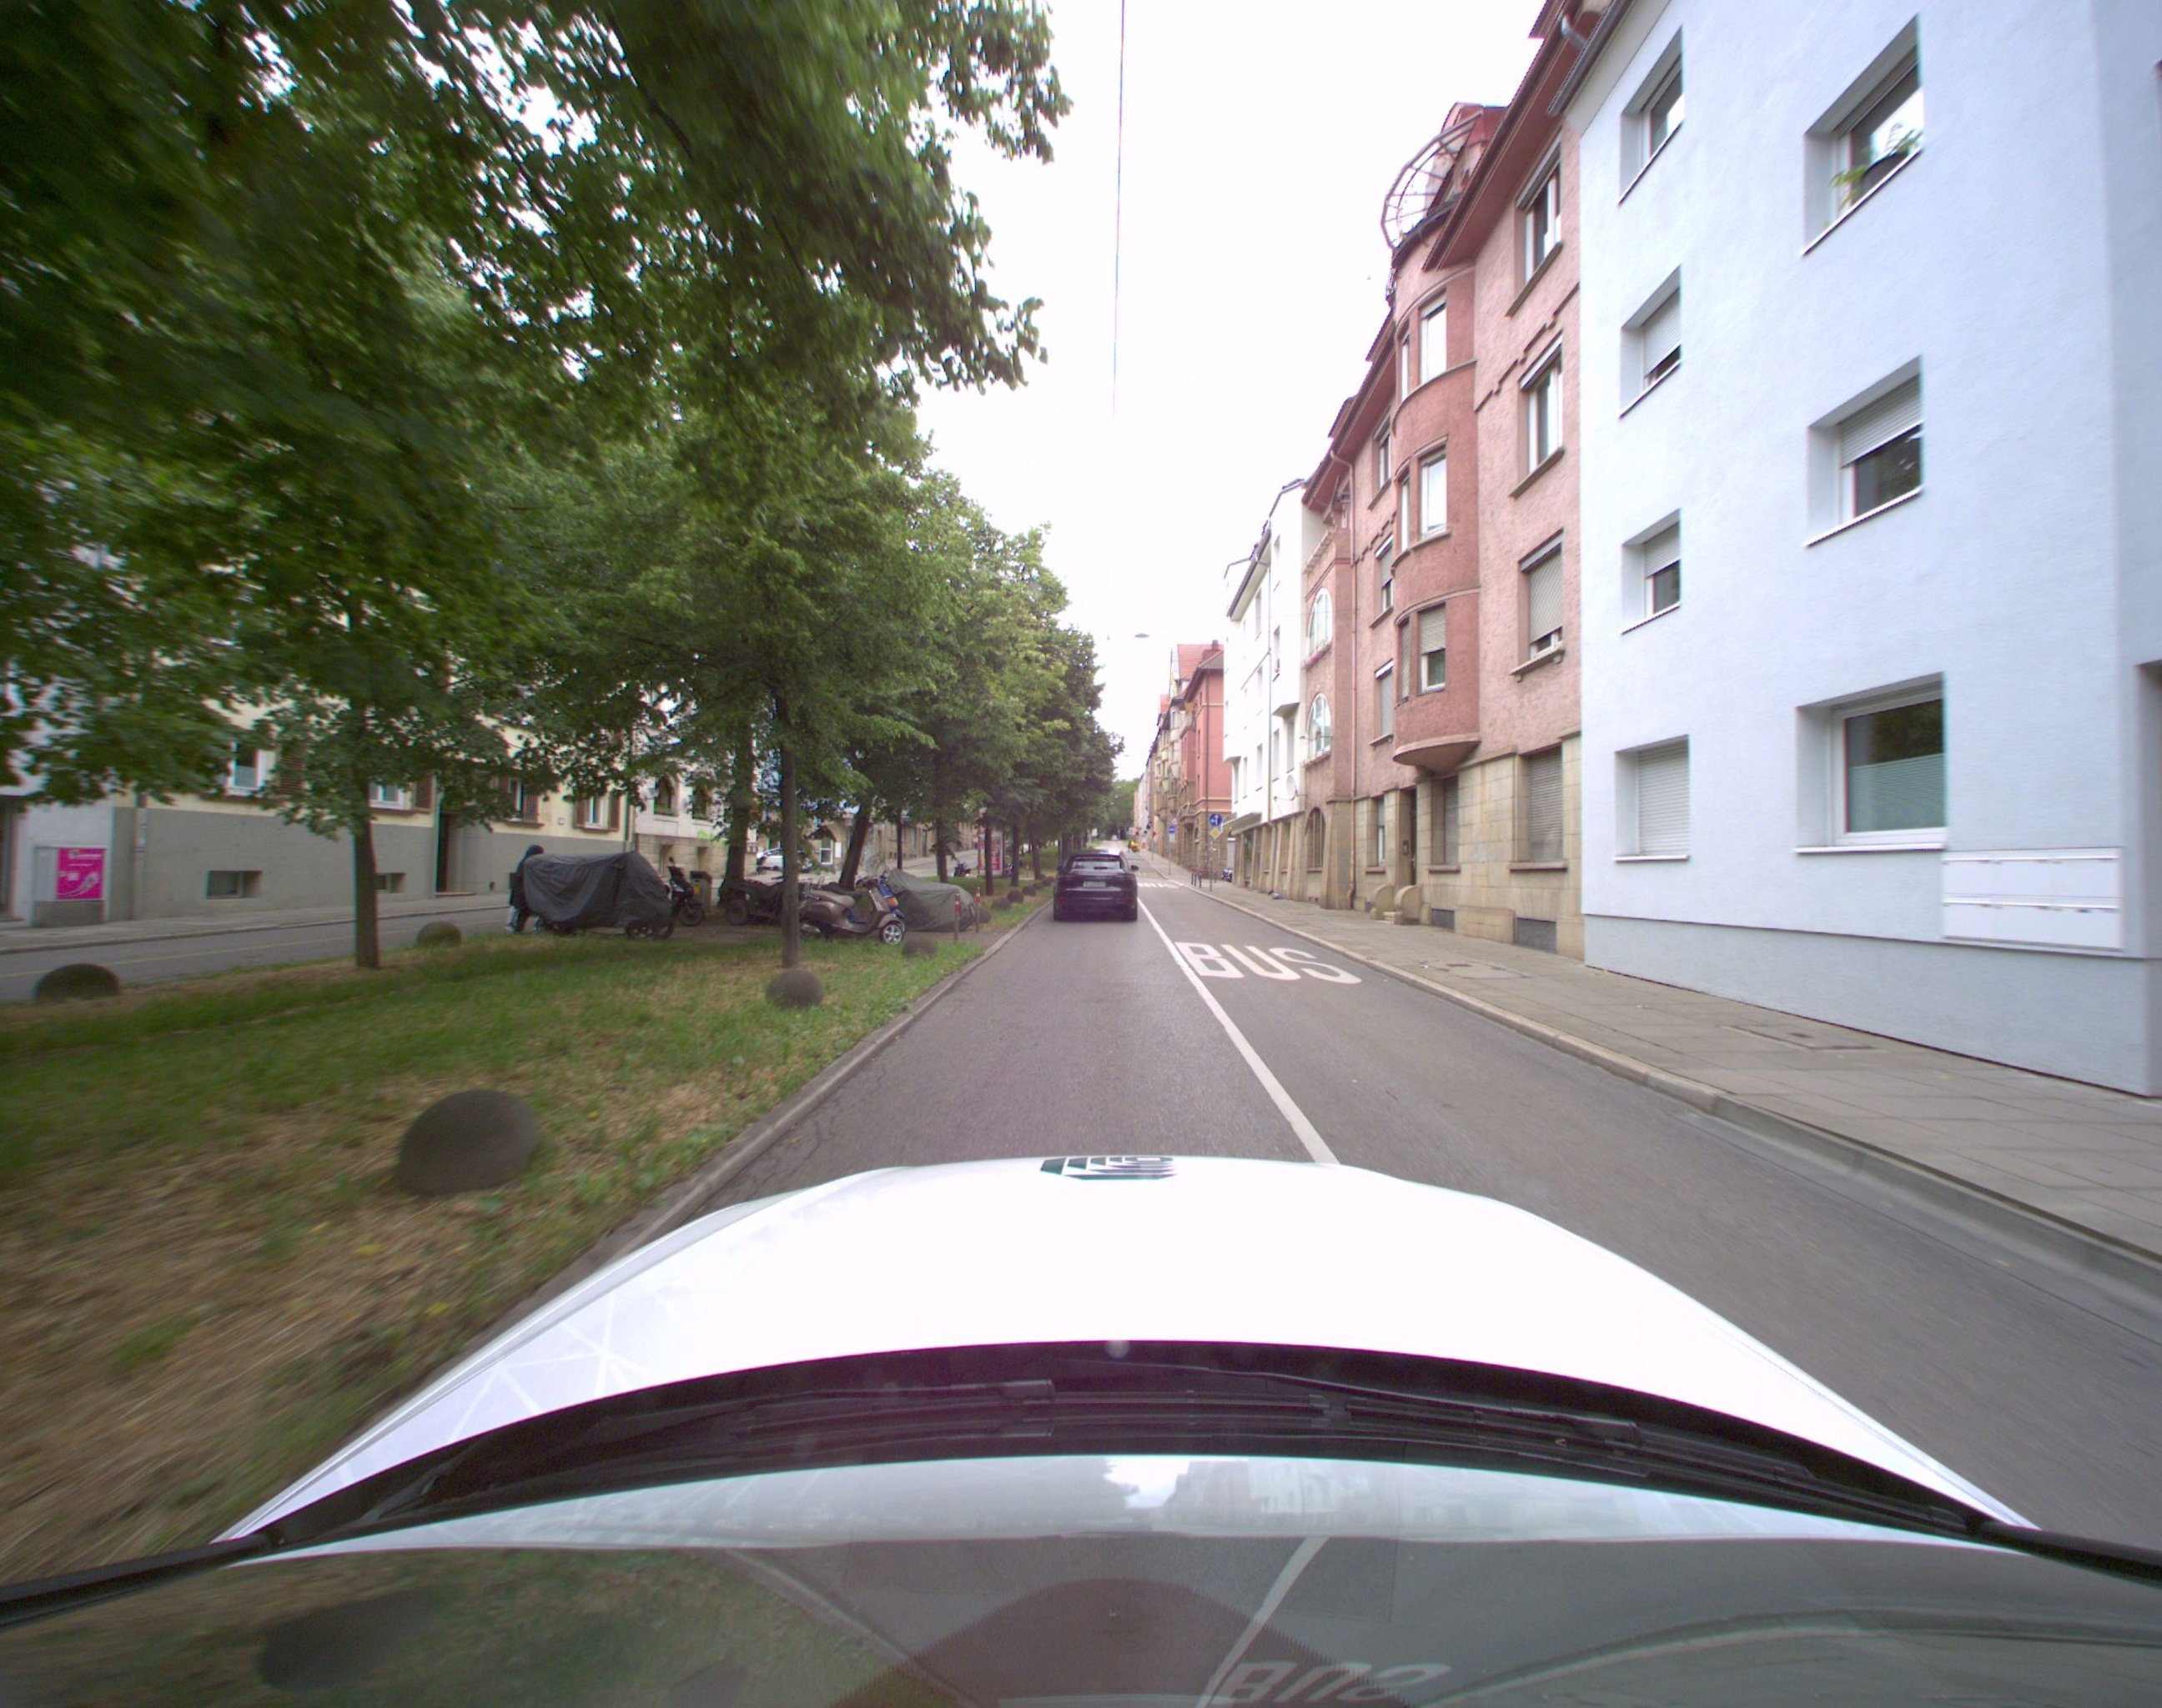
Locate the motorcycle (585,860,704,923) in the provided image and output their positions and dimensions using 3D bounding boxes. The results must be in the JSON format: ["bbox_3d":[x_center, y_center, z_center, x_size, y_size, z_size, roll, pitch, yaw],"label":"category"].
[{"bbox_3d":[-8.804,0.751,16.469,2.102,1.235,0.516,0,0,0],"label":"motorcycle"}]

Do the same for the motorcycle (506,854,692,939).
[{"bbox_3d":[-7.797,0.668,13.273,2.374,1.317,1.046,0,0,0],"label":"motorcycle"}]

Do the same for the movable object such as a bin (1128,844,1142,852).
[{"bbox_3d":[7.854,-0.867,118.405,1.246,1.274,1.826,1,0,-37],"label":"movable object such as a bin"}]

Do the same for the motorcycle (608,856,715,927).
[{"bbox_3d":[-8.142,0.722,15.856,1.756,1.339,0.624,0,-1,0],"label":"motorcycle"}]

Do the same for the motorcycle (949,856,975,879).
[{"bbox_3d":[-5.885,0.690,40.403,0.897,1.107,2.252,0,-2,2],"label":"motorcycle"}]

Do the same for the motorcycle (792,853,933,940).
[{"bbox_3d":[-3.775,0.714,14.191,2.184,1.438,0.875,1,0,4],"label":"motorcycle"}]

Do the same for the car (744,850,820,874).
[{"bbox_3d":[-18.858,0.474,51.484,3.972,1.497,2.001,0,0,1],"label":"car"}]

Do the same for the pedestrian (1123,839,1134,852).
[{"bbox_3d":[6.936,-1.244,119.464,1.310,2.014,1.009,1,0,-34],"label":"pedestrian"}]

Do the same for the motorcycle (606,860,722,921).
[{"bbox_3d":[-8.744,0.761,17.127,2.123,1.236,0.622,-1,-2,1],"label":"motorcycle"}]

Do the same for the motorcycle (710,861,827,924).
[{"bbox_3d":[-6.325,0.760,16.535,2.018,1.235,0.898,0,0,6],"label":"motorcycle"}]

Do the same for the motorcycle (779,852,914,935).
[{"bbox_3d":[-3.773,0.633,13.238,1.918,1.297,0.893,0,-2,0],"label":"motorcycle"}]

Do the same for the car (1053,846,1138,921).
[{"bbox_3d":[0.336,0.654,20.316,1.897,1.666,4.135,0,0,0],"label":"car"}]

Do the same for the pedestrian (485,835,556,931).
[{"bbox_3d":[-9.708,0.488,14.129,0.631,1.613,0.765,1,0,6],"label":"pedestrian"}]

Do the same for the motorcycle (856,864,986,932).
[{"bbox_3d":[-3.107,0.840,16.037,2.348,1.235,1.033,0,1,0],"label":"motorcycle"}]

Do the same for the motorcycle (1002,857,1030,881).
[{"bbox_3d":[-3.220,0.724,40.468,1.058,1.148,2.449,0,0,2],"label":"motorcycle"}]

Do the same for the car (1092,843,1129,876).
[{"bbox_3d":[1.681,0.318,46.209,1.986,1.753,4.002,0,0,2],"label":"car"}]

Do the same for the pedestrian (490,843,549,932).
[{"bbox_3d":[-10.438,0.603,15.154,0.660,1.616,0.580,1,0,3],"label":"pedestrian"}]

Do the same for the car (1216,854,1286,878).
[{"bbox_3d":[10.508,0.706,50.330,4.015,1.376,1.979,0,0,-34],"label":"car"}]
